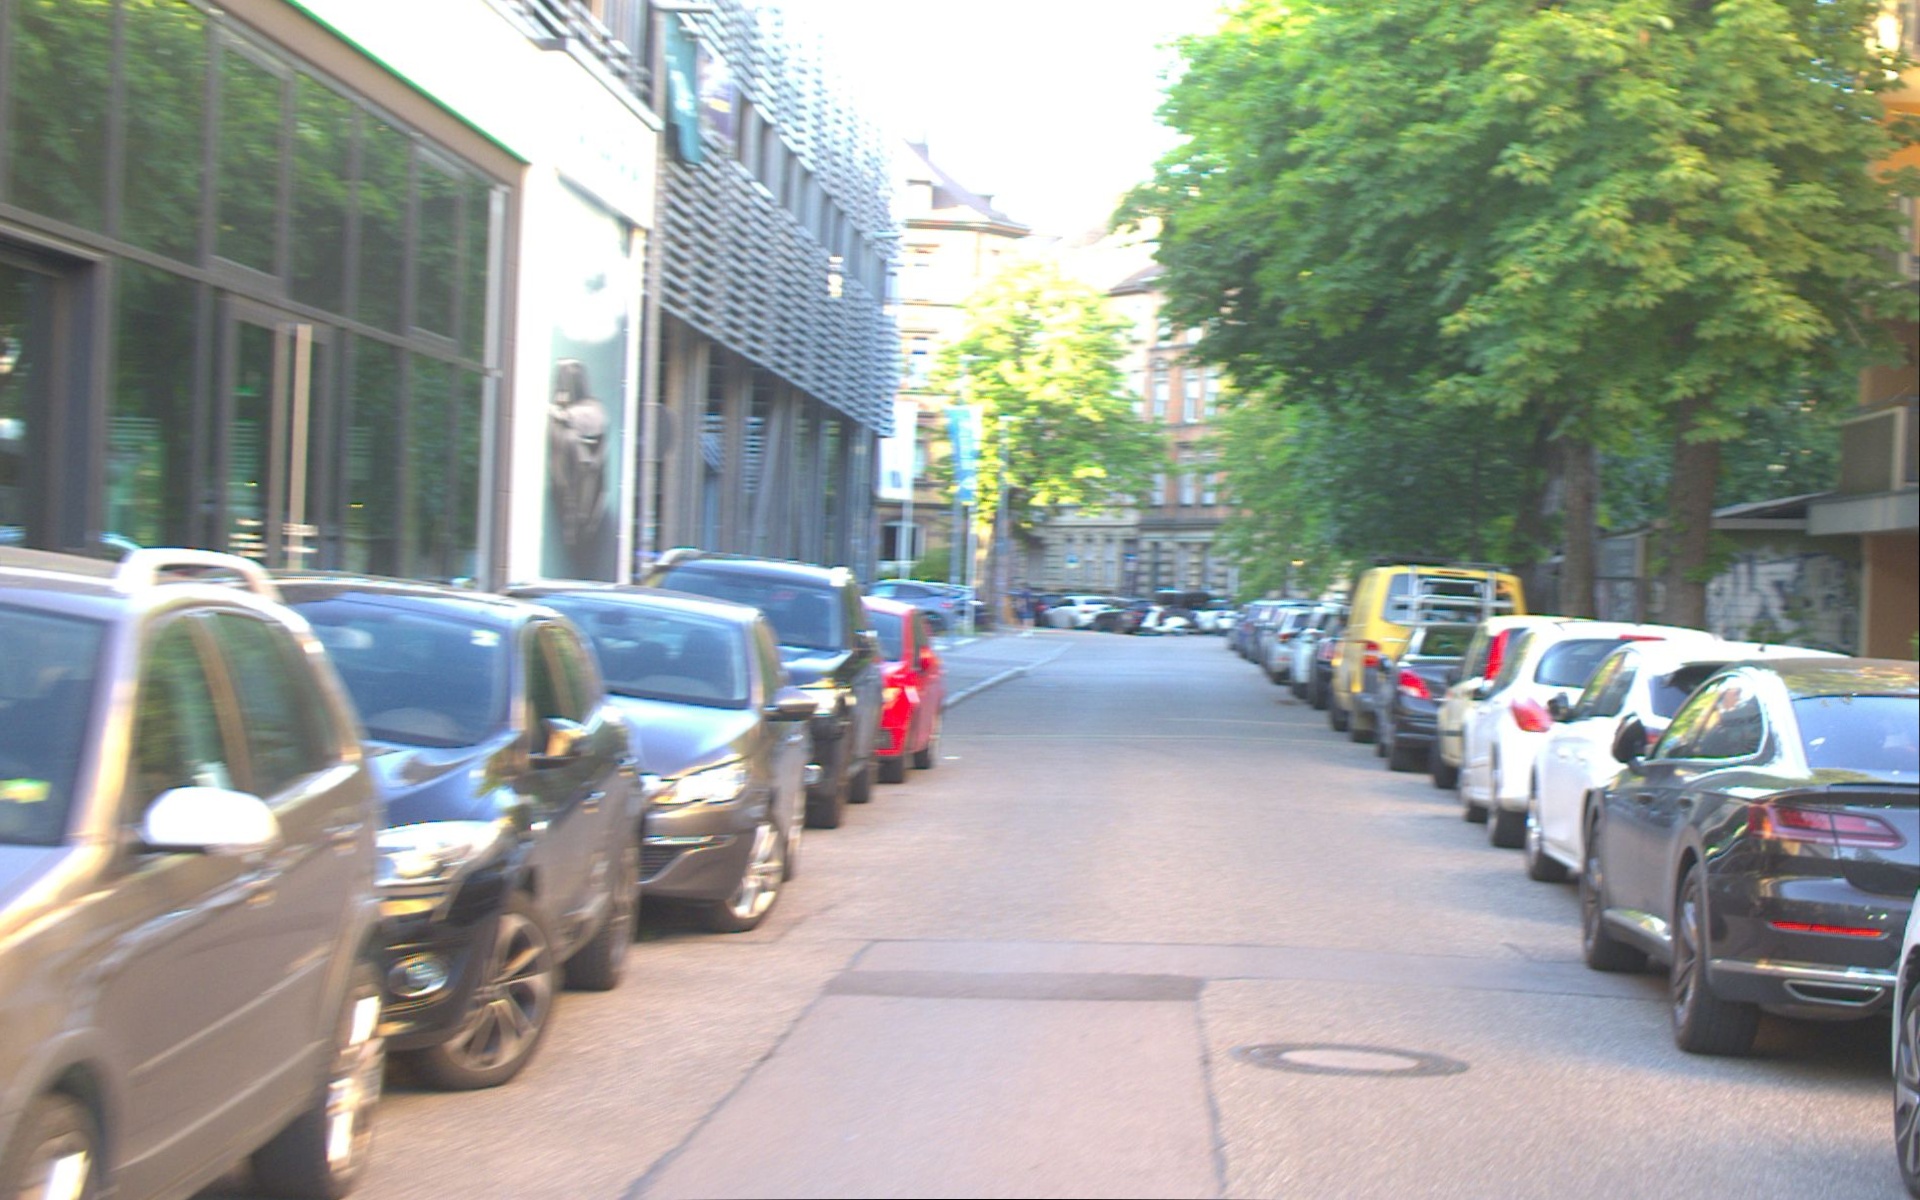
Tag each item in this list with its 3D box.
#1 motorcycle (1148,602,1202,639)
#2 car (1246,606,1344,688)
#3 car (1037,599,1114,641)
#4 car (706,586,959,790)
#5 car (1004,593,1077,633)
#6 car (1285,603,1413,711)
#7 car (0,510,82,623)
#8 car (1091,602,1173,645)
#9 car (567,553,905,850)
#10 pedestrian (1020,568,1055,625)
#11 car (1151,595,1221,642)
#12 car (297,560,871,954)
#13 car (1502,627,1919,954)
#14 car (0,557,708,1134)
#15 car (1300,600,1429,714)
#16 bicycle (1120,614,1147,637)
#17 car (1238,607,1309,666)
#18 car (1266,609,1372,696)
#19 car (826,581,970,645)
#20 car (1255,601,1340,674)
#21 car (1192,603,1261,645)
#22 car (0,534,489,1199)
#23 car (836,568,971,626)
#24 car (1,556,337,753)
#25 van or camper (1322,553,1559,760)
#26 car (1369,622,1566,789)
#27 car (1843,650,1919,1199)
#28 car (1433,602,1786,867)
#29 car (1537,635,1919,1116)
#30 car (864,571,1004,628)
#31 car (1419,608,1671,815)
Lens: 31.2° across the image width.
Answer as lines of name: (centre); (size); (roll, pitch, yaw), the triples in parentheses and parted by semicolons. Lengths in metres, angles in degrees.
motorcycle: (8.114, 0.770, 129.904); (1.931, 1.336, 0.577); (2, 1, -6)
car: (6.756, 0.926, 69.629); (1.759, 1.449, 4.392); (2, 1, 3)
car: (4.618, 0.801, 137.841); (1.654, 1.426, 4.168); (3, 1, -19)
car: (-0.986, 0.674, 28.478); (1.697, 1.501, 3.790); (2, 1, 3)
car: (3.314, 0.535, 142.446); (1.654, 1.426, 3.897); (3, 1, -20)
car: (6.109, 0.866, 54.295); (1.722, 1.514, 4.025); (2, 1, 3)
car: (-11.325, -0.407, 39.302); (1.420, 1.250, 3.526); (2, 1, 4)
car: (6.636, 0.898, 133.192); (1.654, 1.426, 3.991); (3, 1, -20)
car: (-1.405, 0.599, 23.198); (1.697, 1.750, 4.403); (2, 1, 3)
pedestrian: (2.498, -0.111, 110.960); (0.735, 1.798, 1.122); (2, 1, -17)
car: (9.295, 0.758, 141.648); (1.674, 1.776, 3.016); (3, 1, -21)
car: (-1.670, 0.642, 16.790); (1.937, 1.591, 4.204); (2, 1, 5)
car: (3.981, 0.936, 18.628); (1.610, 1.456, 4.054); (2, 1, 3)
car: (-2.024, 0.665, 11.610); (1.729, 1.398, 4.006); (7, 1, 2)
car: (5.727, 0.783, 48.965); (1.563, 1.445, 3.453); (2, 1, 3)
bicycle: (6.447, 0.957, 127.869); (0.425, 0.819, 1.460); (3, 1, 25)
car: (8.378, 0.966, 92.158); (1.695, 1.472, 4.116); (2, 0, 3)
car: (6.713, 0.966, 64.608); (1.759, 1.437, 4.005); (2, 1, 3)
car: (-1.848, 0.383, 103.637); (4.129, 1.612, 1.913); (4, 1, 2)
car: (7.880, 0.853, 80.524); (1.759, 1.598, 3.873); (2, 0, 3)
car: (10.700, 0.948, 138.026); (1.674, 1.520, 2.768); (3, 1, -21)
car: (-2.270, 0.637, 6.955); (1.662, 1.492, 3.884); (7, 1, 4)
car: (-1.743, -0.108, 106.776); (4.067, 1.612, 1.765); (2, 1, 2)
car: (-6.494, 0.407, 28.620); (1.697, 1.468, 3.781); (2, 1, 3)
van or camper: (5.312, 0.555, 38.669); (2.064, 2.089, 5.090); (2, 1, 2)
car: (4.865, 0.970, 33.363); (1.607, 1.377, 3.999); (2, 1, 5)
car: (3.306, 0.895, 7.746); (1.810, 1.412, 3.895); (2, 1, 4)
car: (4.339, 0.838, 23.553); (1.792, 1.557, 4.193); (2, 1, 3)
car: (3.405, 0.917, 13.166); (1.810, 1.412, 4.625); (2, 1, 3)
car: (-0.936, -0.012, 122.416); (4.828, 1.726, 1.921); (3, 1, -2)
car: (4.749, 0.863, 28.292); (1.610, 1.505, 3.477); (2, 1, 3)
